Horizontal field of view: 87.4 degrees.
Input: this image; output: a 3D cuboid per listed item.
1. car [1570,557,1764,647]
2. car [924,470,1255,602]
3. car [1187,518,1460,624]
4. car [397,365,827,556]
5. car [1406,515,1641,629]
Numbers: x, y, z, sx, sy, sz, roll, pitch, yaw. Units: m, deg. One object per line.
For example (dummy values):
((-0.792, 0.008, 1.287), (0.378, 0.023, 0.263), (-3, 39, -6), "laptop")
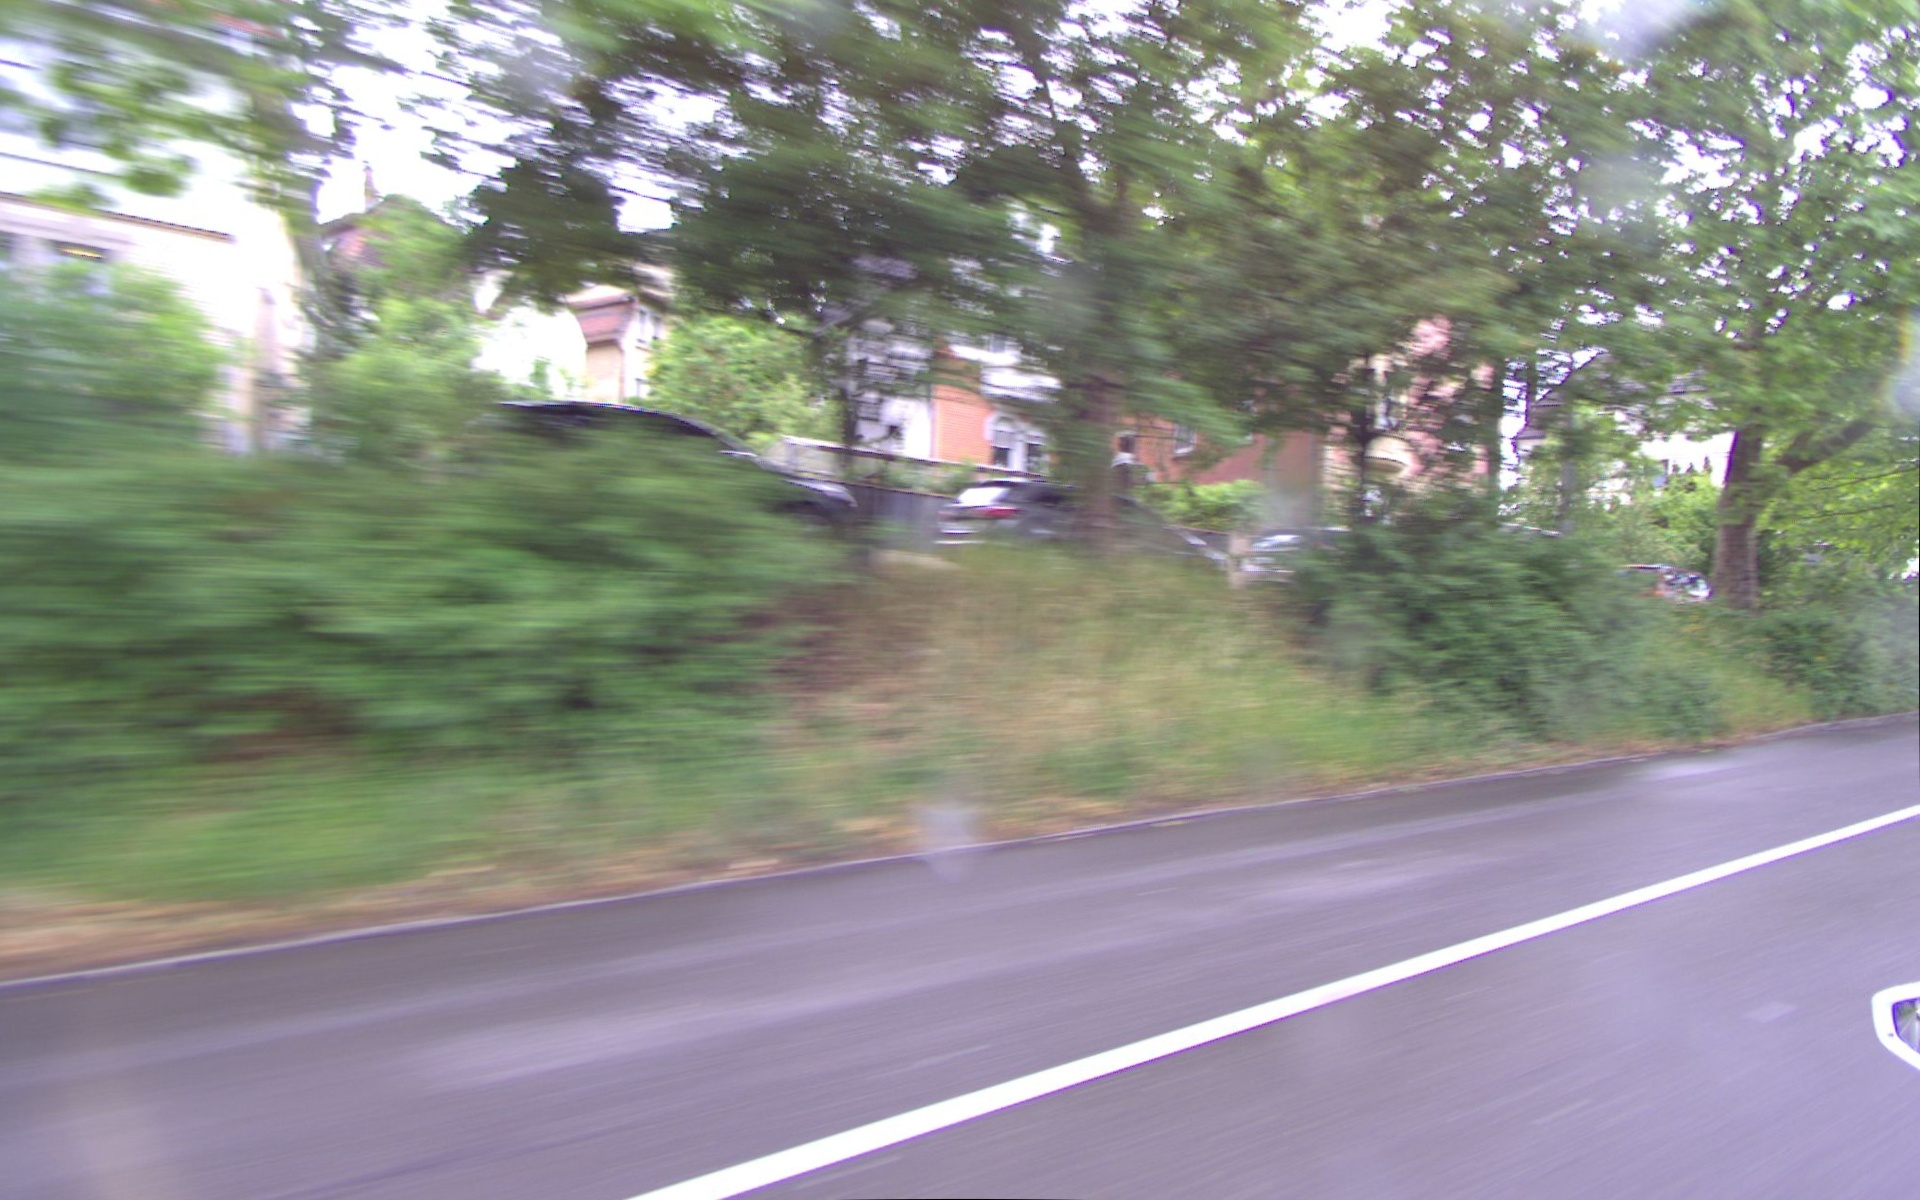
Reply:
((16.098, 0.053, 22.831), (4.572, 1.868, 1.821), (1, 1, -30), "car")
((1.930, -0.822, 14.514), (4.572, 1.578, 1.821), (1, 1, -30), "car")
((6.221, -0.437, 17.075), (4.572, 1.578, 1.821), (1, 1, -30), "car")
((-3.801, -1.369, 11.137), (4.235, 1.578, 1.821), (1, 1, -30), "car")
((11.236, -0.489, 19.968), (4.572, 2.041, 1.984), (1, 1, -30), "car")
